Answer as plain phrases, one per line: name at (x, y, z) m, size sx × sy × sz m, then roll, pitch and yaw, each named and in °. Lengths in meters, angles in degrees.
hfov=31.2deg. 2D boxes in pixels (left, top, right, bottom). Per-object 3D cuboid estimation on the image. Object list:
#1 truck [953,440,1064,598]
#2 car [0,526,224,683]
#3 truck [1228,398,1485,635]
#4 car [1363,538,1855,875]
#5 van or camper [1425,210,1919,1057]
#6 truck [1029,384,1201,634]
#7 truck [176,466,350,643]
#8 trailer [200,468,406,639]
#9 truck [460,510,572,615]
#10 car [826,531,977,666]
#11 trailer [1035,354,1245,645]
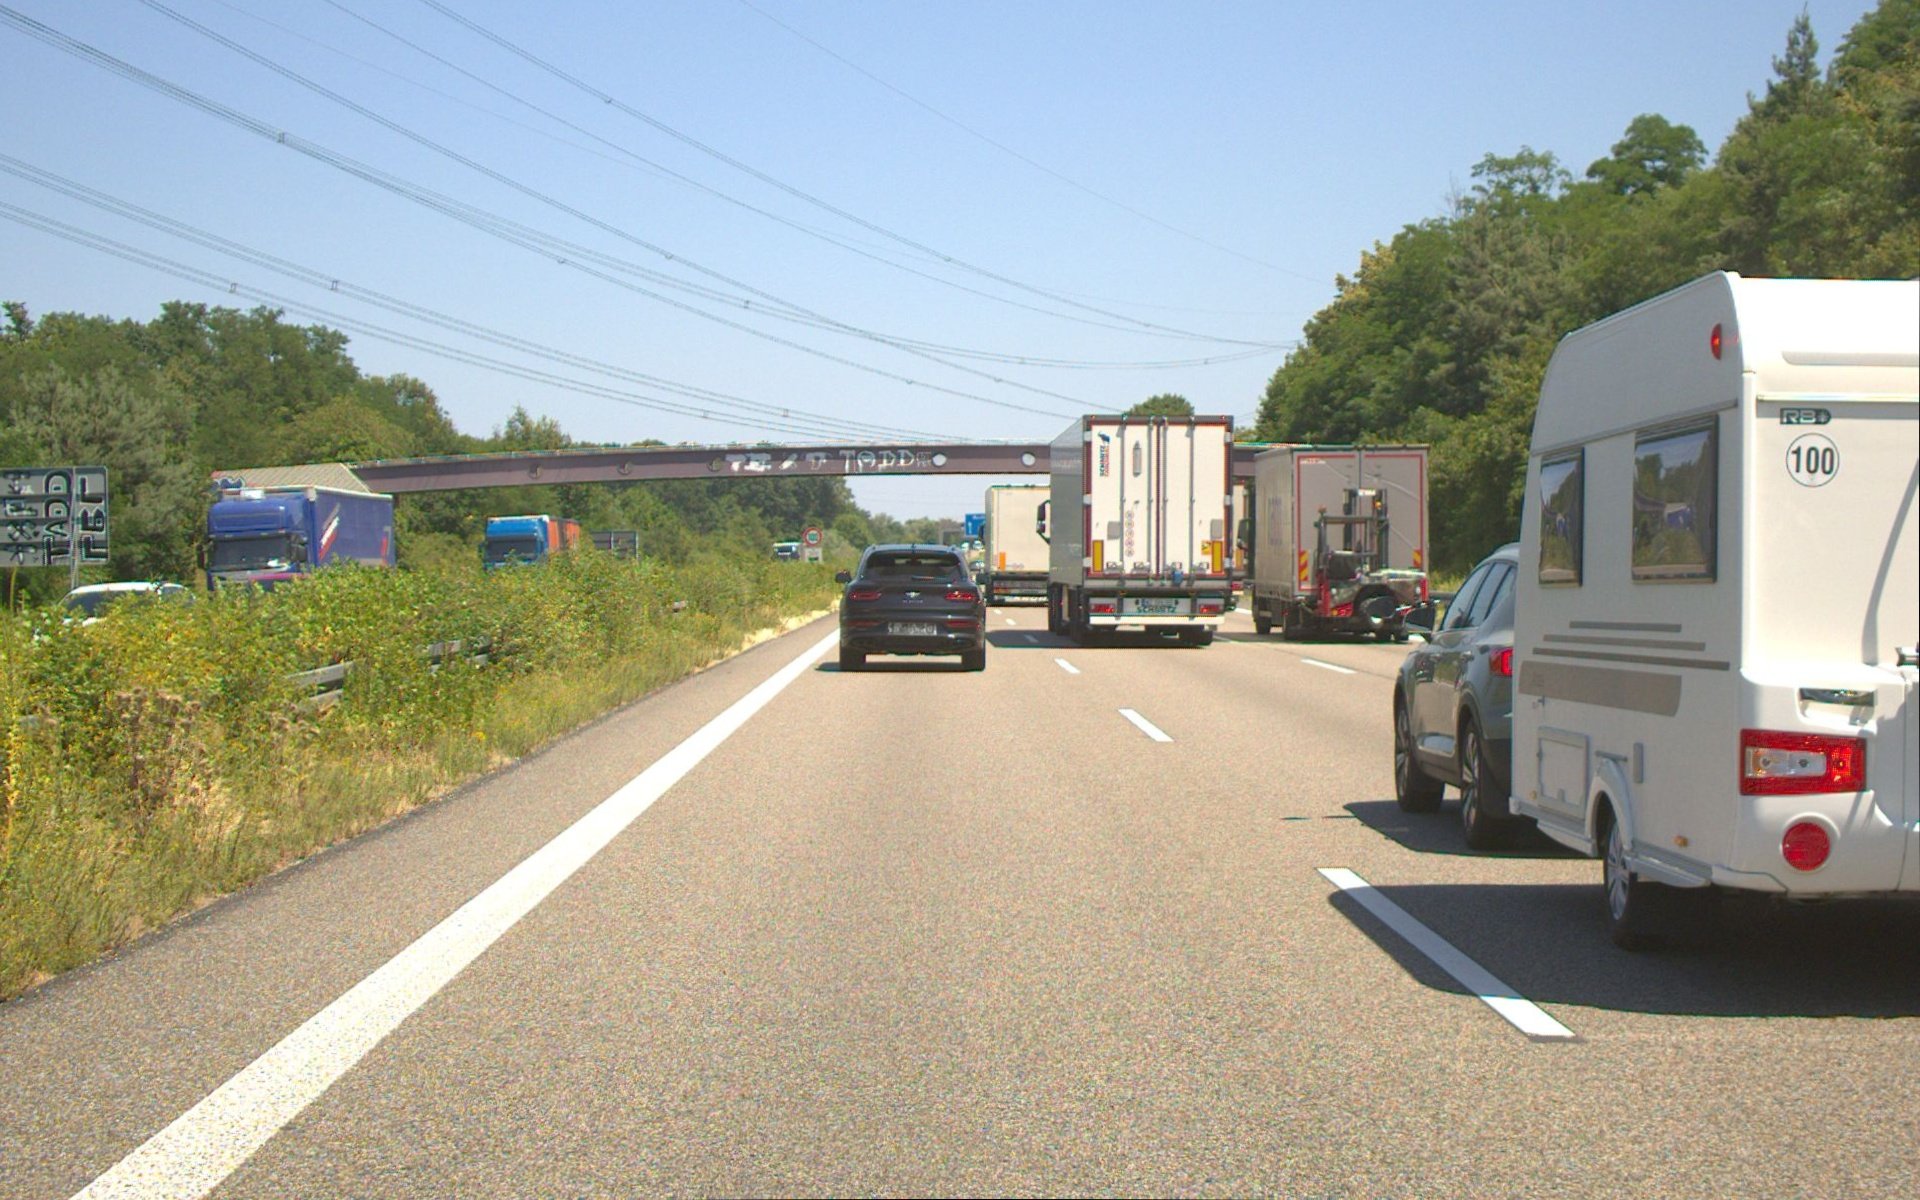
truck at (1.586, -2.724, 117.863) m, size 3.512 × 5.149 × 10.259 m, roll 1°, pitch 1°, yaw -1°
car at (-11.329, 0.018, 45.877) m, size 1.993 × 1.937 × 4.725 m, roll -2°, pitch 1°, yaw 0°
truck at (7.665, -1.568, 68.354) m, size 3.571 × 4.230 × 11.652 m, roll 1°, pitch 0°, yaw -1°
car at (3.527, 0.496, 19.573) m, size 1.879 × 1.607 × 4.702 m, roll 3°, pitch 1°, yaw 0°
van or camper at (3.614, 0.041, 14.021) m, size 2.439 × 2.665 × 6.350 m, roll -1°, pitch 1°, yaw -1°
truck at (3.123, -1.821, 71.008) m, size 3.087 × 4.868 × 6.598 m, roll 1°, pitch 0°, yaw 0°
truck at (-18.586, -1.222, 92.084) m, size 3.087 × 4.392 × 6.801 m, roll -3°, pitch 1°, yaw 0°
trailer at (-18.650, -1.337, 98.754) m, size 3.087 × 4.392 × 14.232 m, roll -3°, pitch 1°, yaw 0°
truck at (-19.300, -1.651, 149.962) m, size 3.344 × 4.392 × 7.971 m, roll -1°, pitch 1°, yaw 3°
car at (-0.835, -0.054, 47.604) m, size 1.993 × 1.766 × 4.000 m, roll -1°, pitch 1°, yaw -2°
trailer at (3.190, -1.762, 64.428) m, size 3.087 × 4.868 × 12.258 m, roll 1°, pitch 0°, yaw -1°
